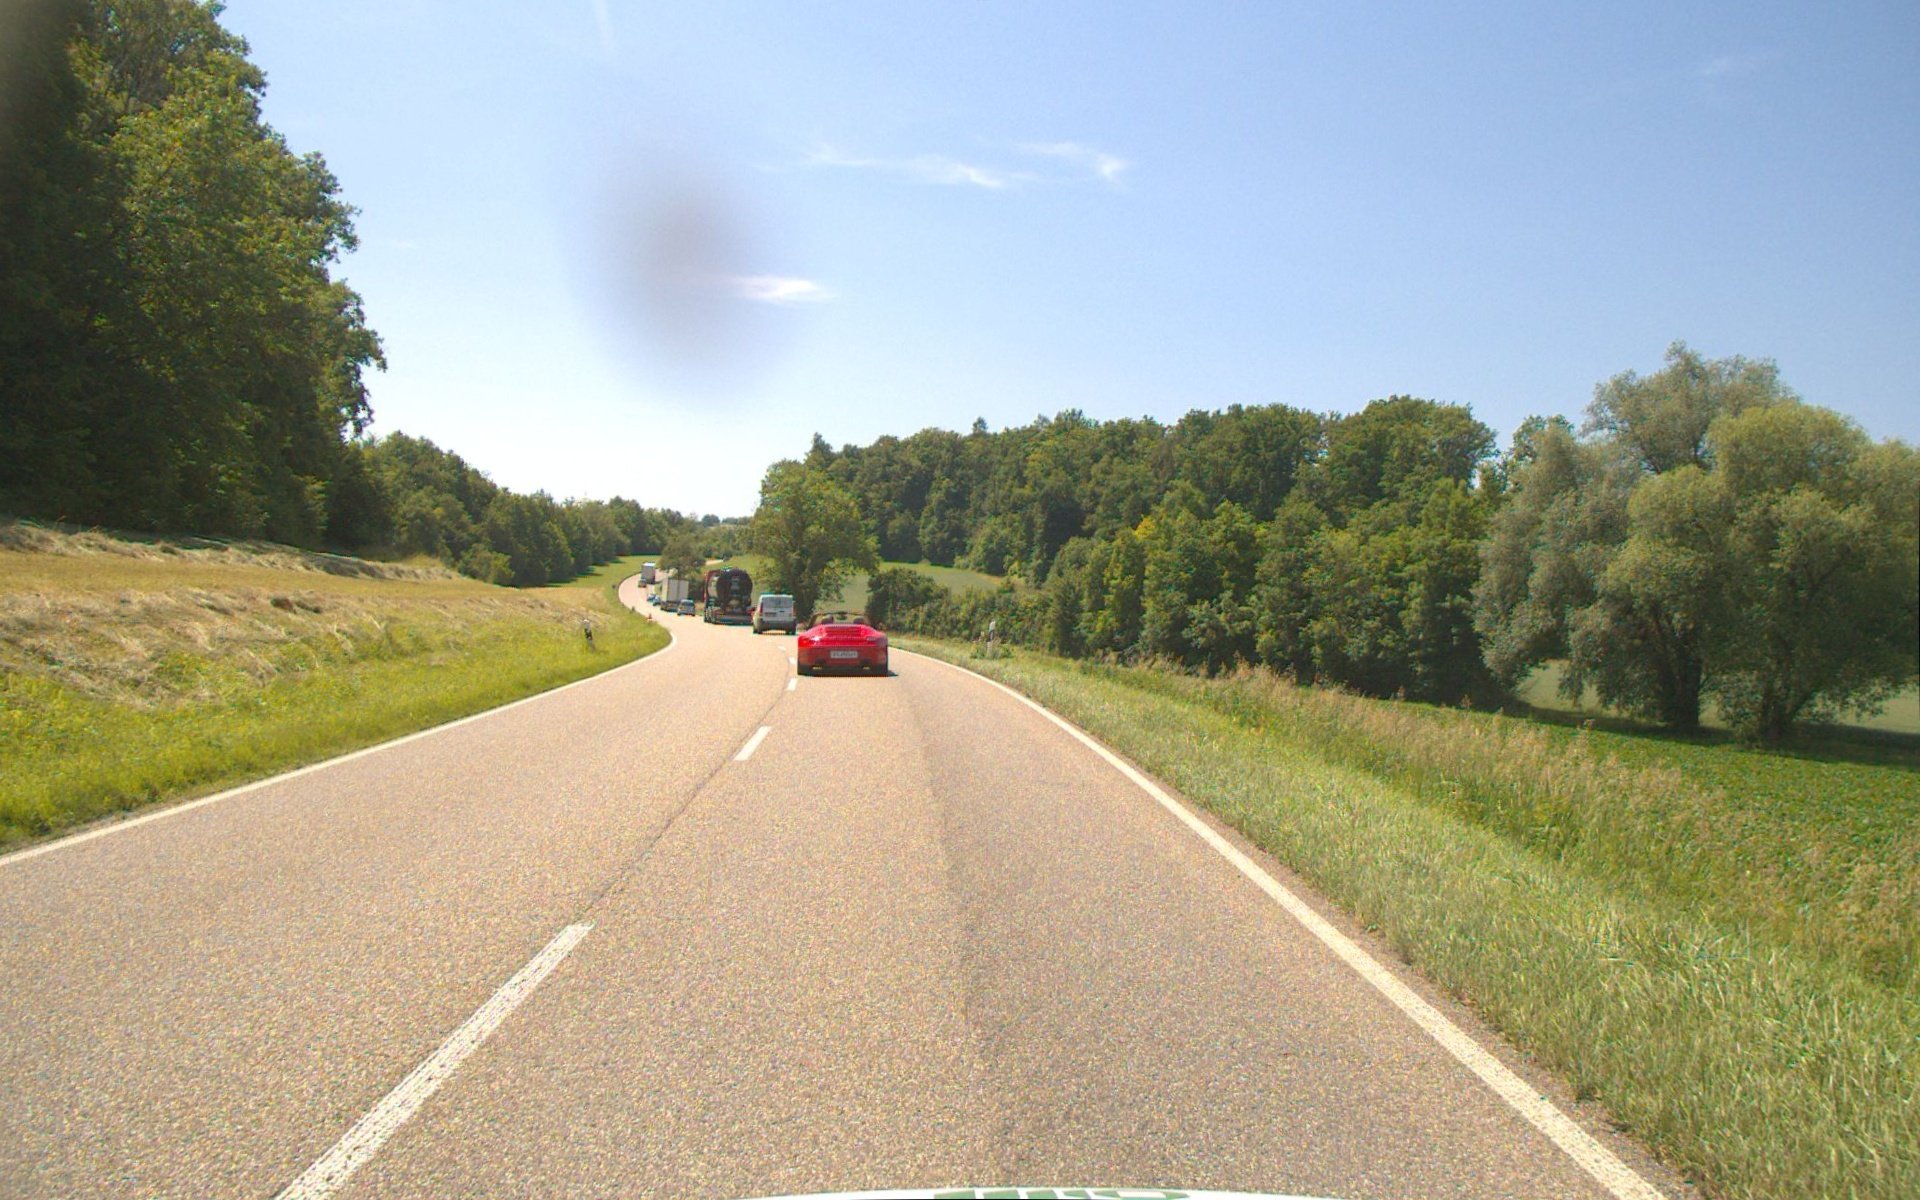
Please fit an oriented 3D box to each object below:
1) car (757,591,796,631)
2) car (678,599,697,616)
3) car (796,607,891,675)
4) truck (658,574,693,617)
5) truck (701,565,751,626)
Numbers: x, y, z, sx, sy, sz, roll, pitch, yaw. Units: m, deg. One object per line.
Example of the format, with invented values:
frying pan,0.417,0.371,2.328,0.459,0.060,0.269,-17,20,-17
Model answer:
car,-9.068,0.512,81.544,1.648,1.934,4.000,1,0,-10
car,-27.002,0.719,163.774,1.692,1.613,4.147,1,0,-13
car,-2.470,0.808,34.283,1.846,1.277,4.004,1,0,-6
truck,-34.937,-0.627,202.631,3.659,4.741,11.998,2,2,-12
truck,-16.797,-0.282,118.287,2.363,4.121,12.506,1,0,-13
